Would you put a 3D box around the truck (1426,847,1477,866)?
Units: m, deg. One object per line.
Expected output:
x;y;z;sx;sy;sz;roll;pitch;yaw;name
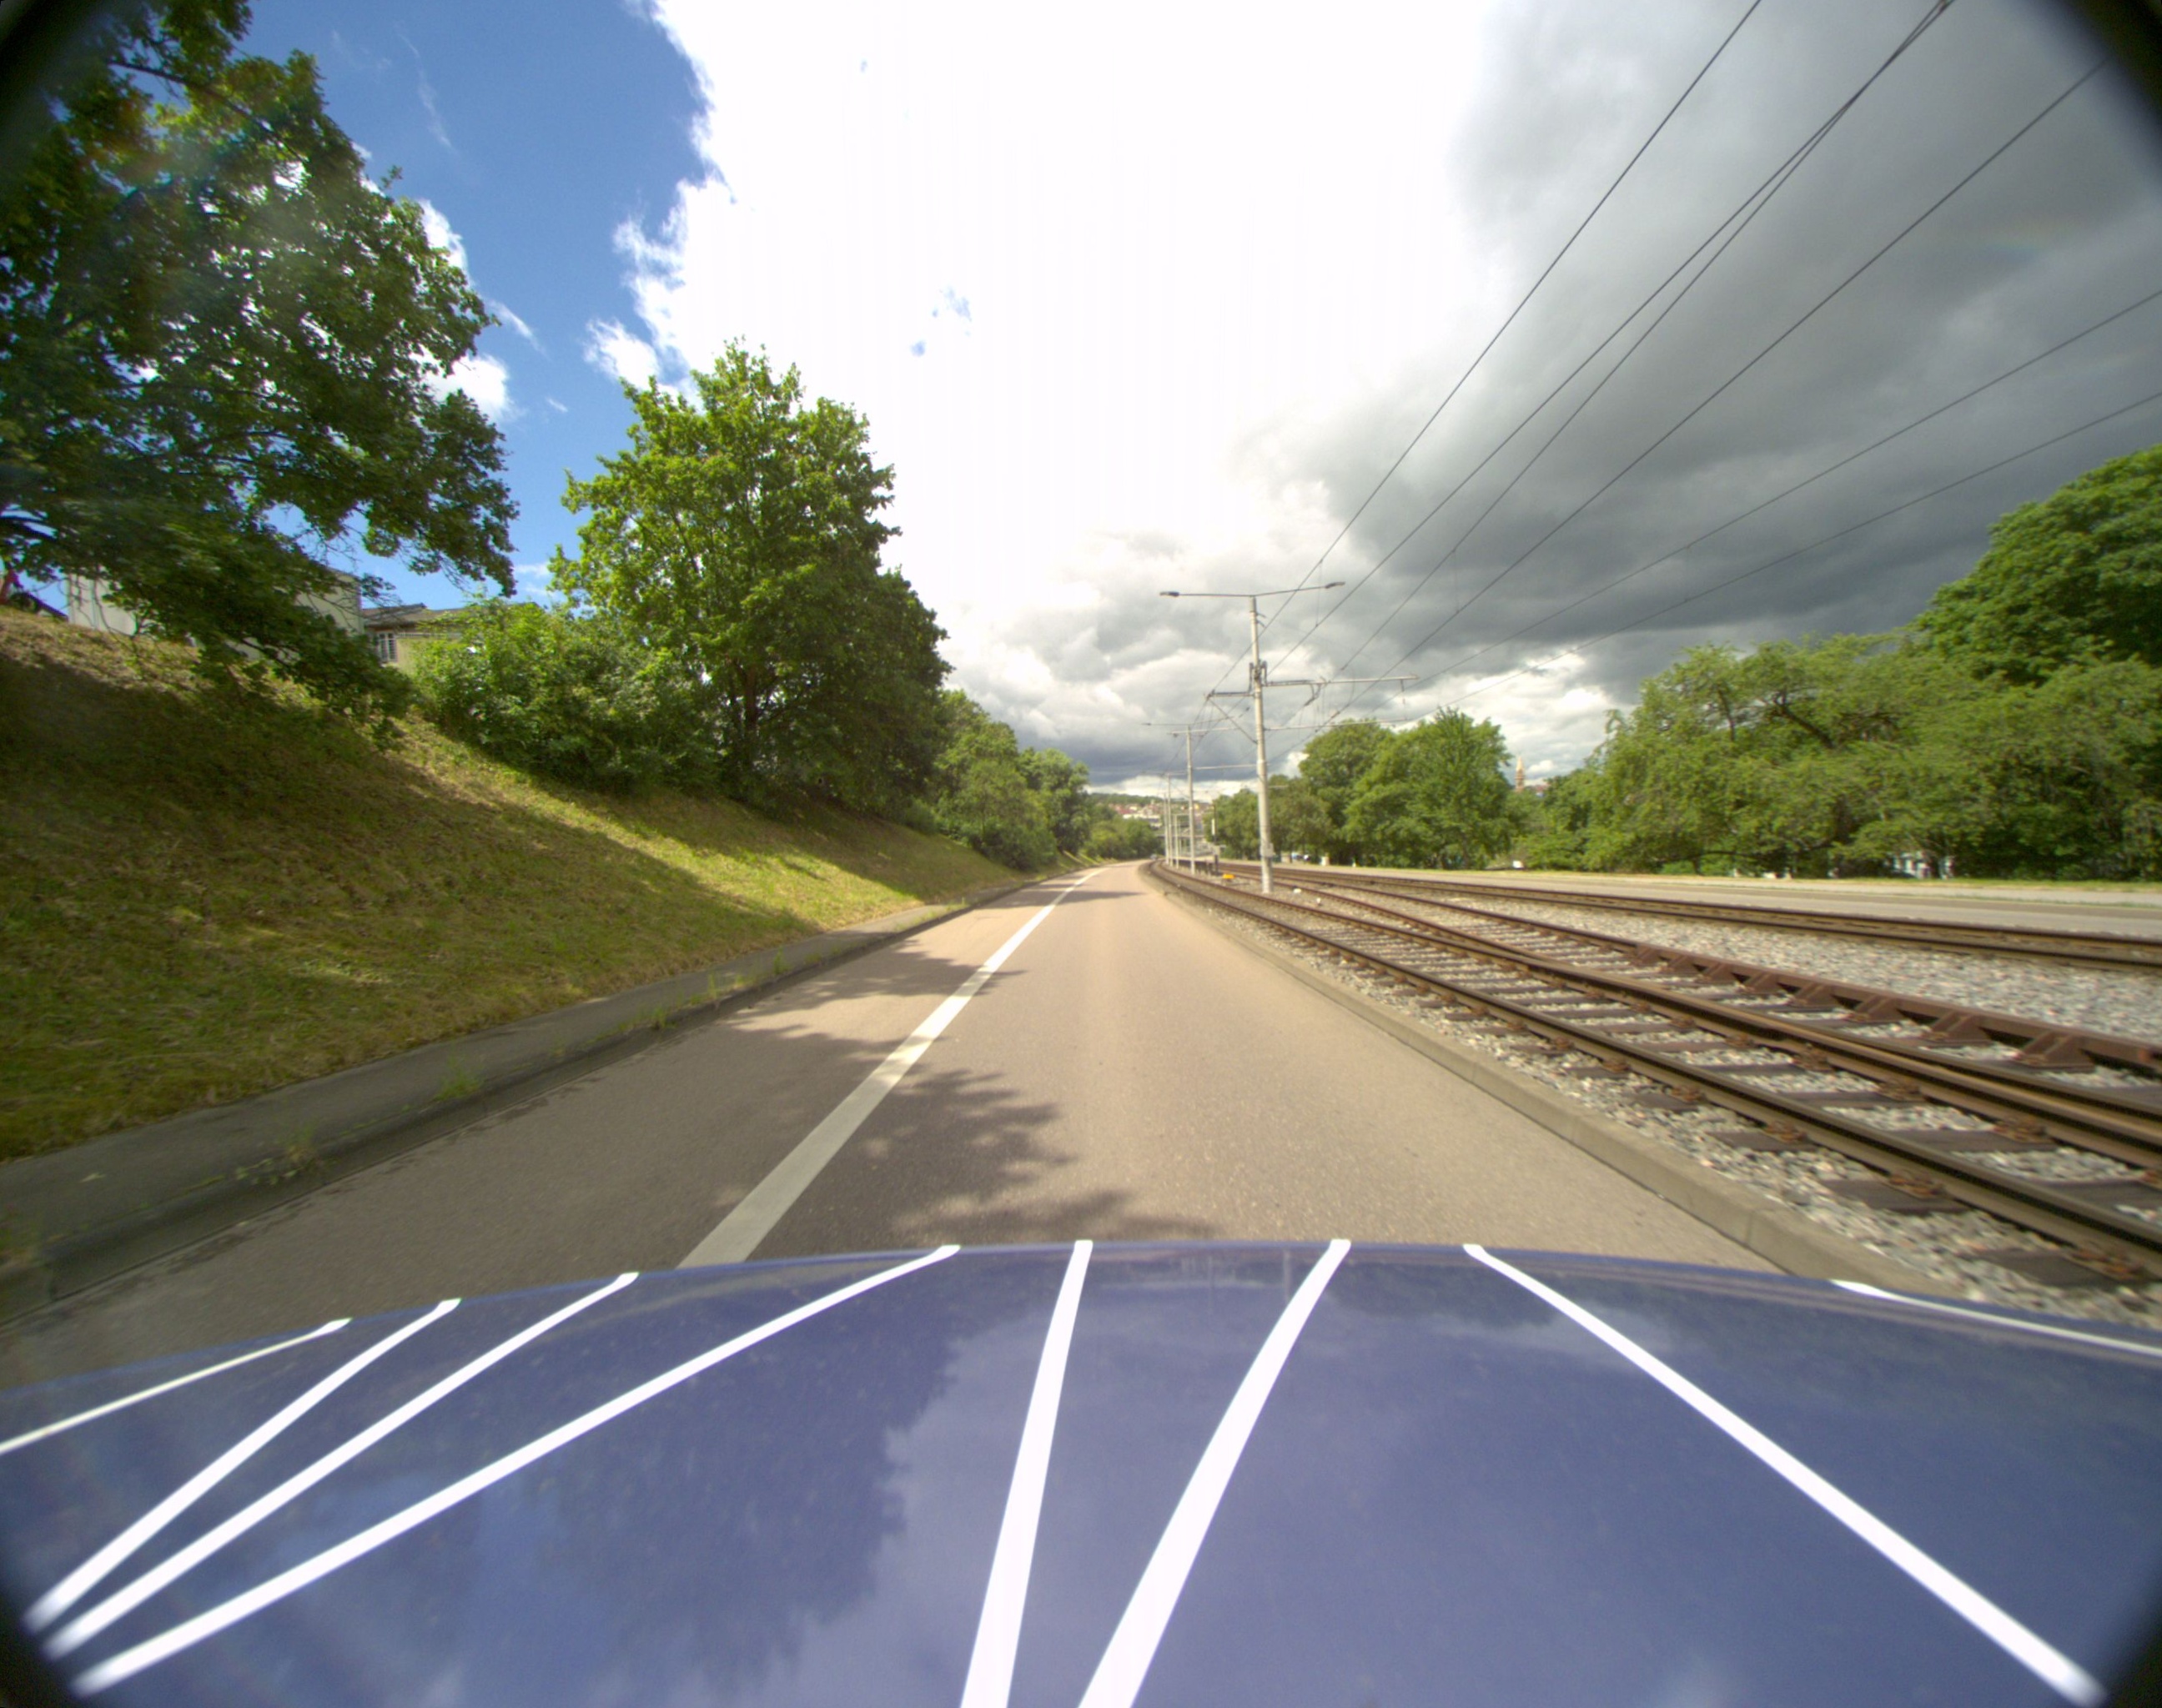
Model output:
57.460;0.354;117.929;6.615;2.839;2.681;0;0;8;truck

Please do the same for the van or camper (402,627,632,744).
-16.338;-4.778;22.638;2.222;2.057;6.162;-2;0;0;van or camper

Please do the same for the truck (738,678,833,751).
-16.047;-7.526;41.847;2.356;2.643;7.040;-2;0;0;truck
